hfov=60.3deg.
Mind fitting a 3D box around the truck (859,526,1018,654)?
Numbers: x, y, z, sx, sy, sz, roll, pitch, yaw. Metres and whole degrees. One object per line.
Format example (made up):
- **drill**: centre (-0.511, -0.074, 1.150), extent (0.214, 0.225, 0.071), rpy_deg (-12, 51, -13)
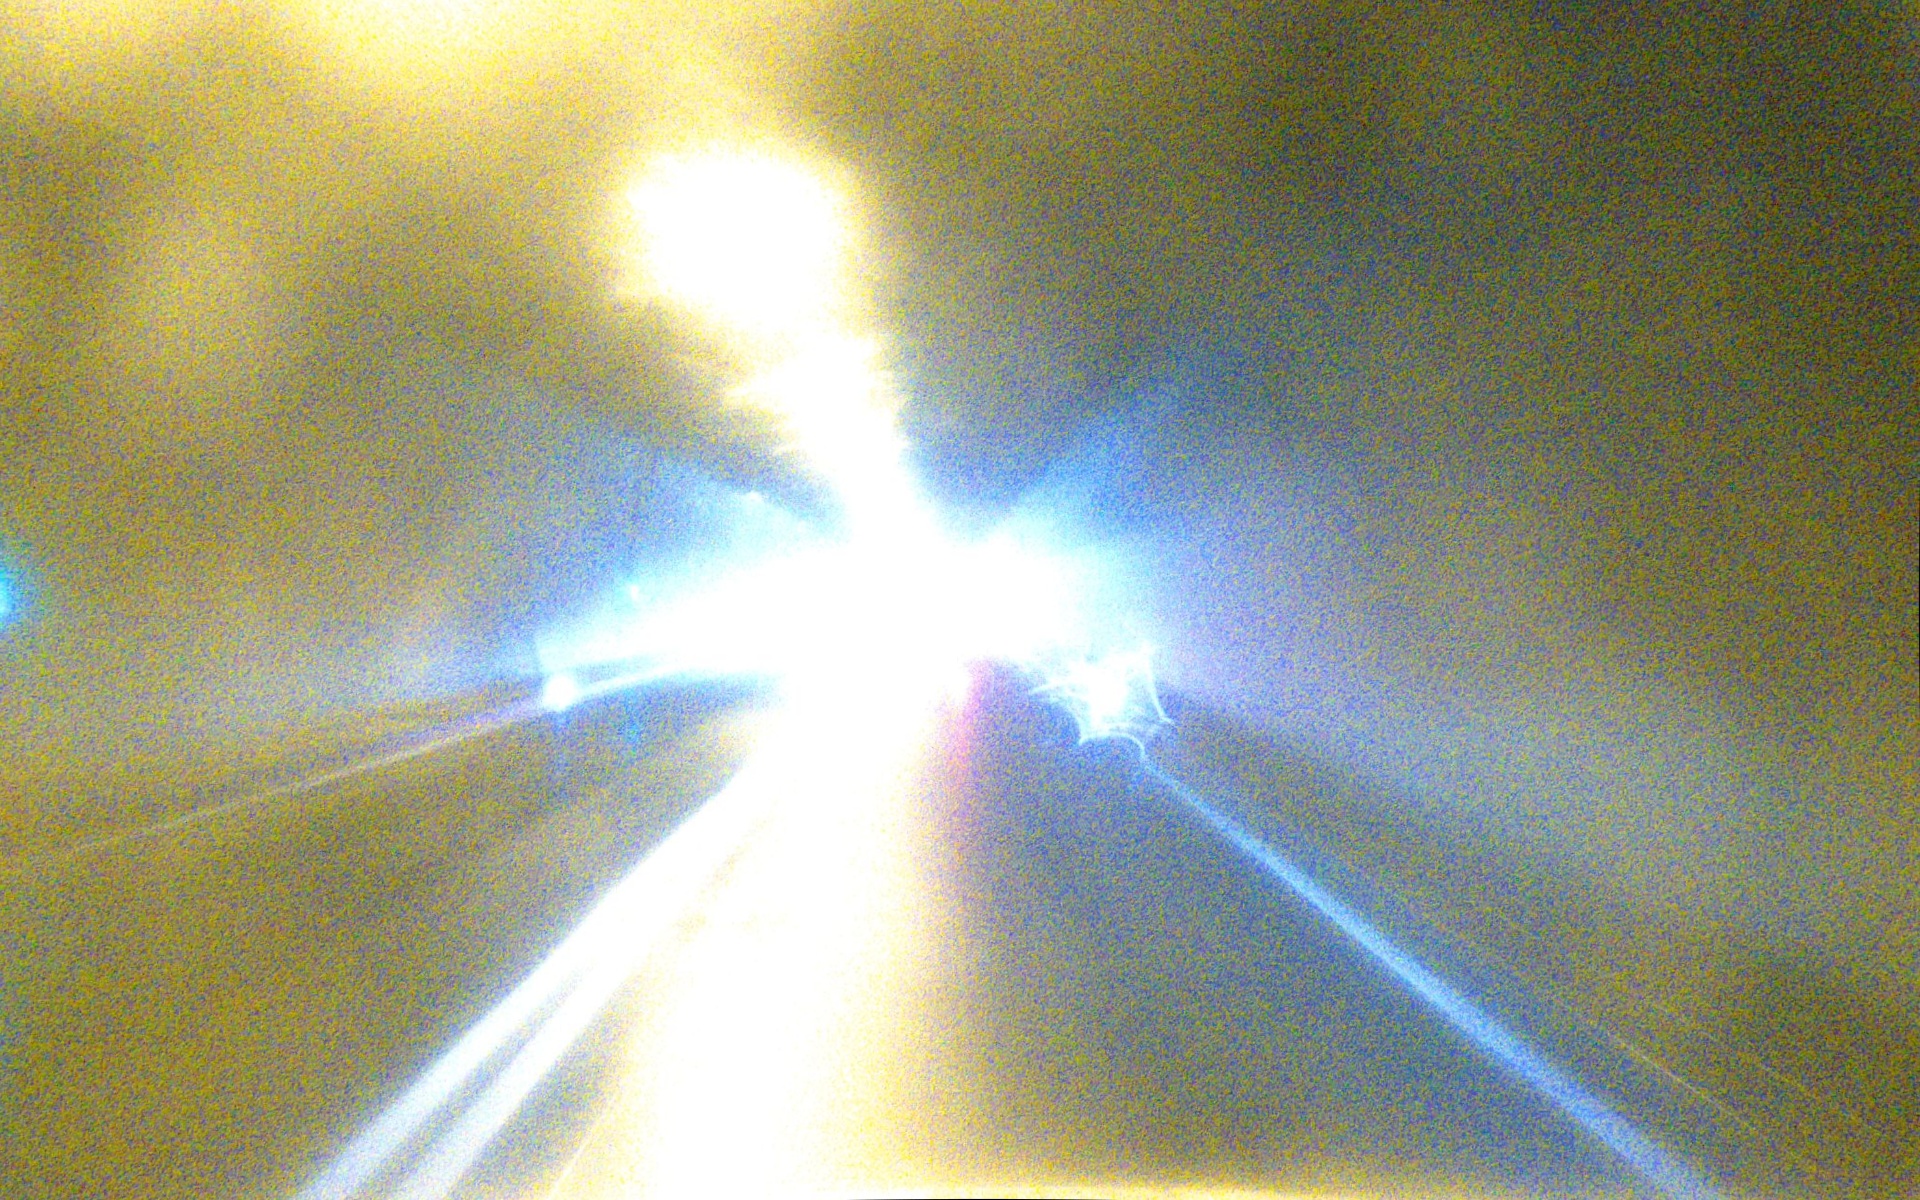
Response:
- **truck**: centre (-0.522, -0.245, 41.323), extent (3.463, 2.740, 8.954), rpy_deg (-2, 0, -1)
